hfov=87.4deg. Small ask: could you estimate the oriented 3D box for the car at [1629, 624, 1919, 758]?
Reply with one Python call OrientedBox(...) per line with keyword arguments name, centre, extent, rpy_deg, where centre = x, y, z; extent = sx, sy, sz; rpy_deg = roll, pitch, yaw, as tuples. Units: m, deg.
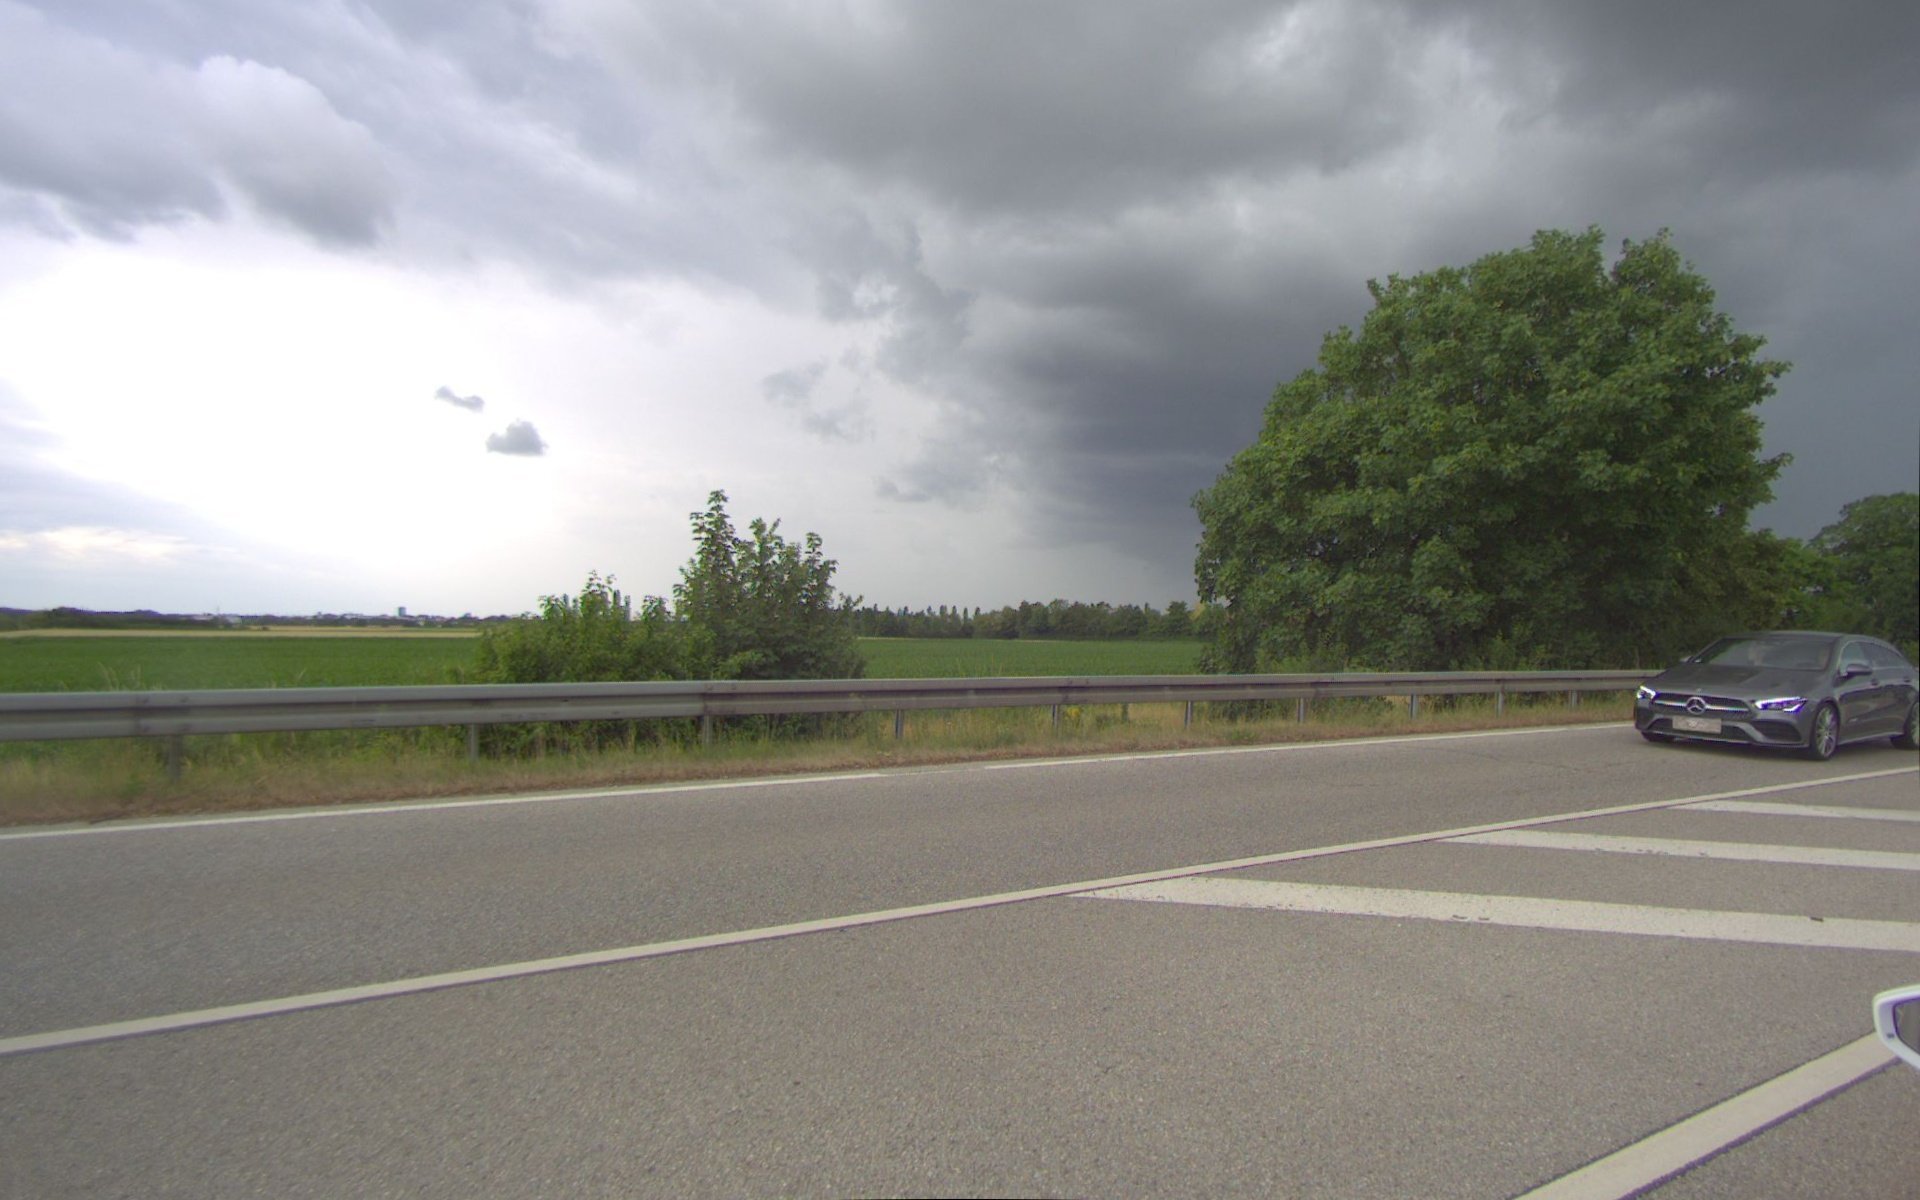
OrientedBox(name="car", centre=(10.428, 1.048, 12.588), extent=(4.459, 1.398, 1.615), rpy_deg=(2, -1, -30))
